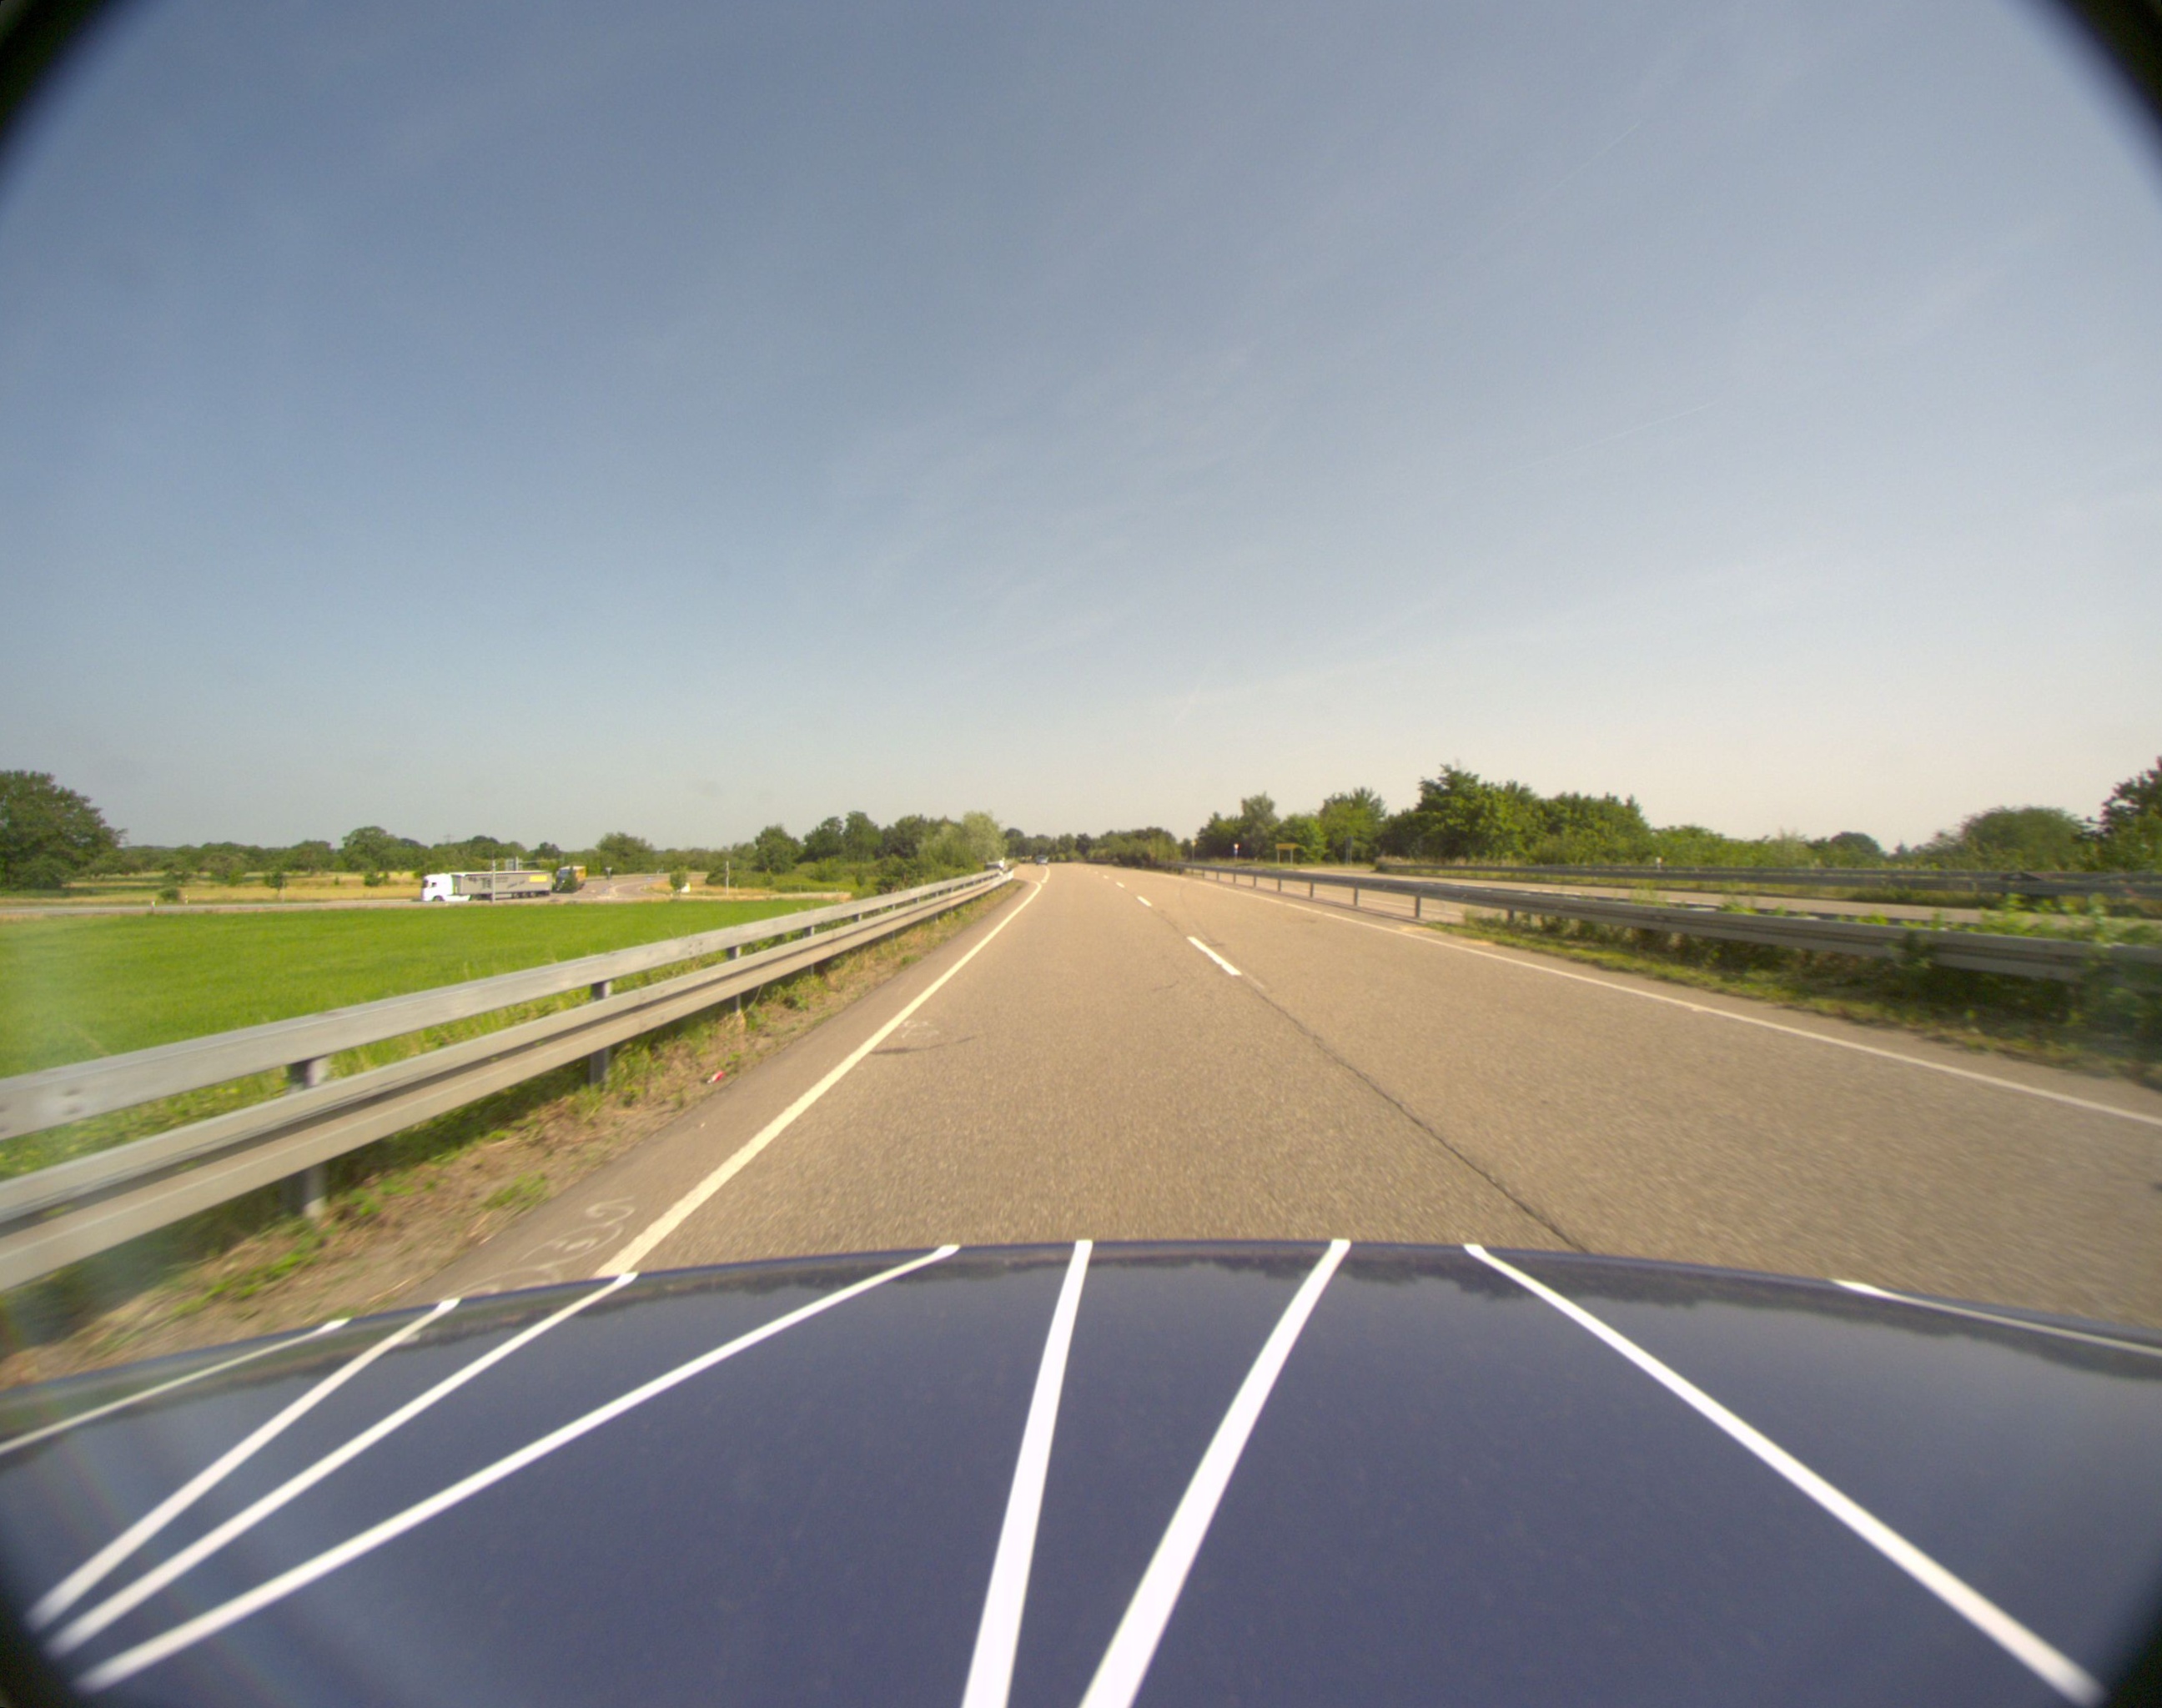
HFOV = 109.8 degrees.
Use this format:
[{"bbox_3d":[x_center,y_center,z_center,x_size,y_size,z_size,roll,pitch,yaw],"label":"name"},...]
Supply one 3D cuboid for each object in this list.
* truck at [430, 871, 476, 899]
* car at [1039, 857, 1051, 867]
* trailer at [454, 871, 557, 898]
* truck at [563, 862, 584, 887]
[{"bbox_3d":[-87.593,4.302,106.008,4.953,3.656,2.102,0,0,-41],"label":"truck"},{"bbox_3d":[-5.827,1.351,121.746,1.703,1.474,3.598,-2,-1,-7],"label":"car"},{"bbox_3d":[-84.974,4.371,112.783,2.104,3.631,13.947,-1,-1,14],"label":"trailer"},{"bbox_3d":[-86.252,3.488,129.226,2.265,4.145,4.362,0,0,-24],"label":"truck"}]
